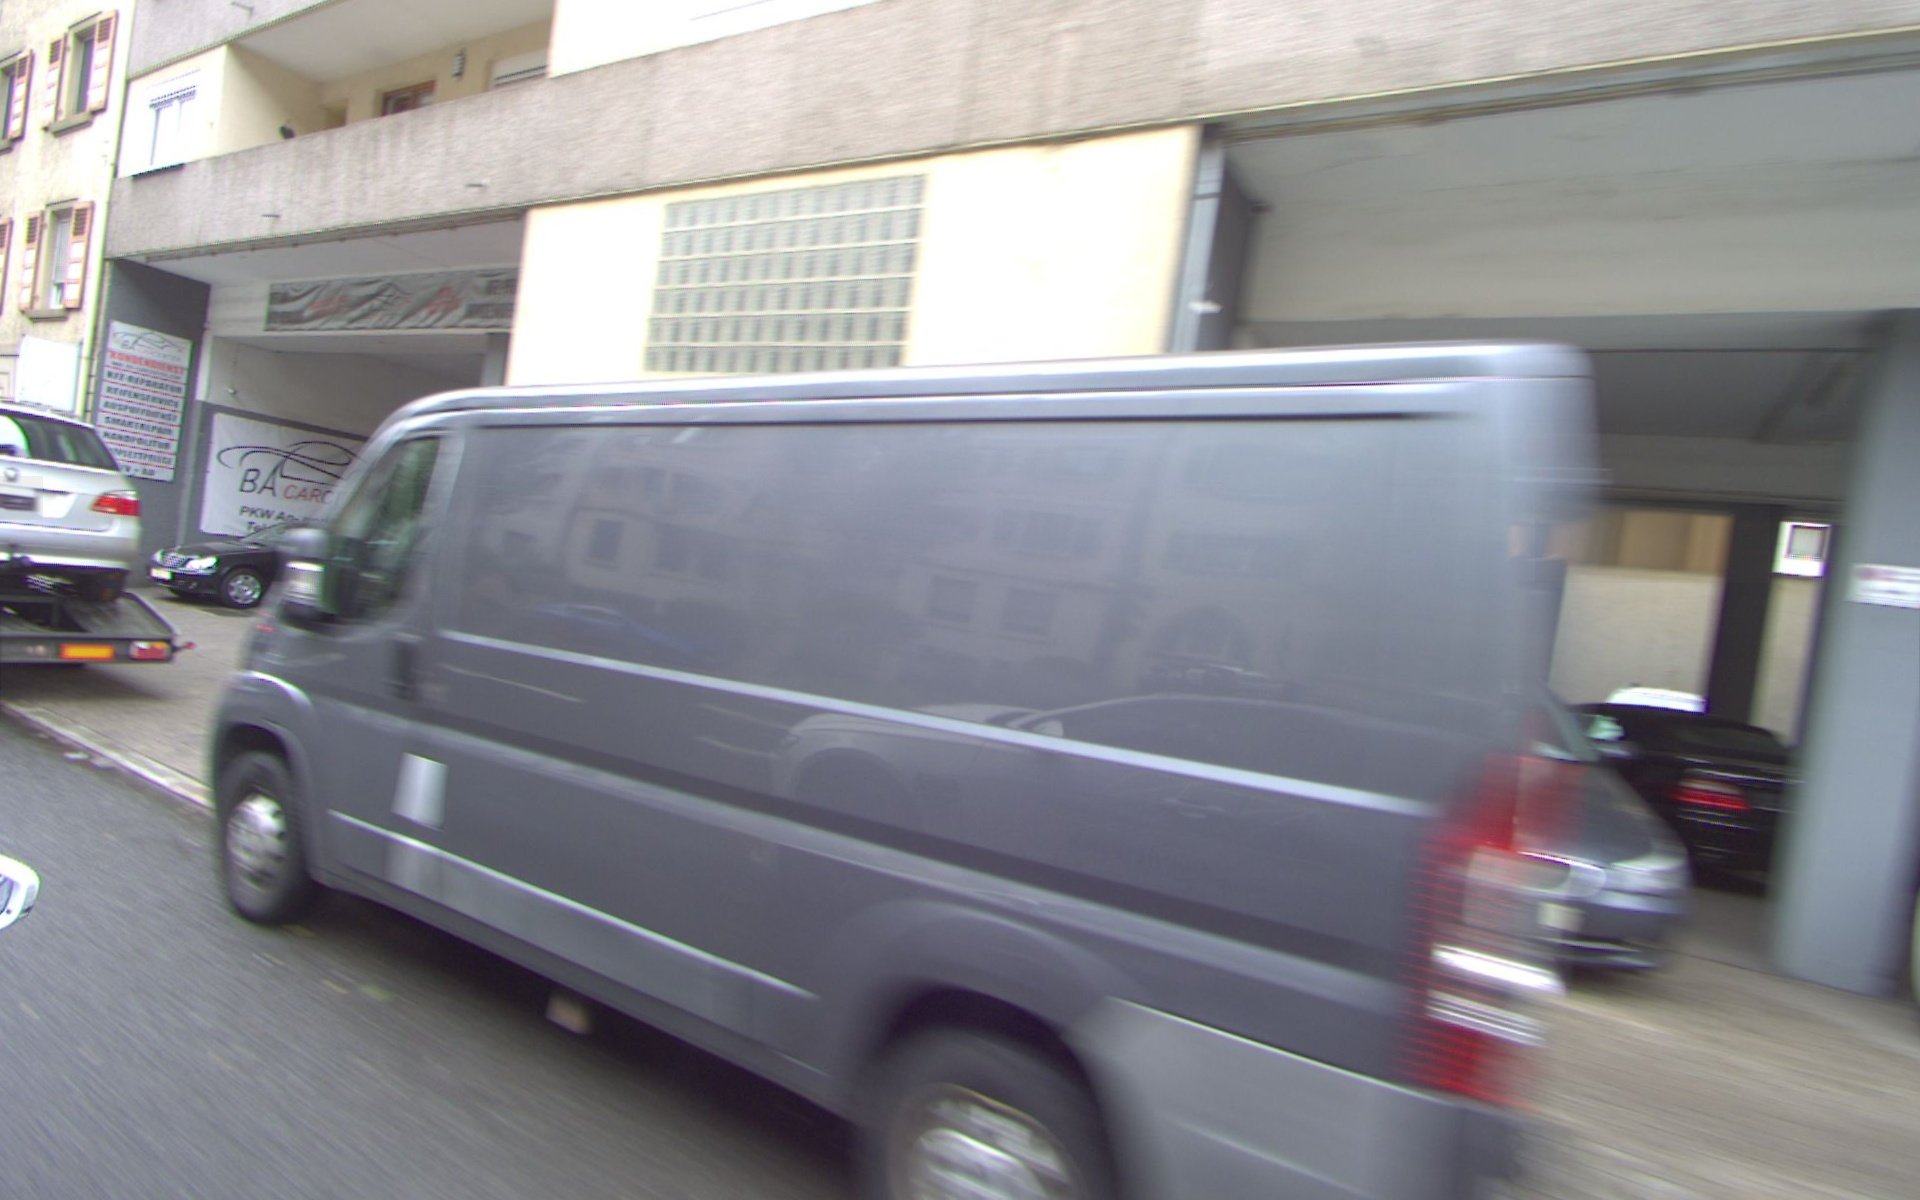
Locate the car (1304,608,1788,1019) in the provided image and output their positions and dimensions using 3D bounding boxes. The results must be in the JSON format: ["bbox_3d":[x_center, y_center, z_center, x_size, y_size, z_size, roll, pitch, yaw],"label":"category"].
[{"bbox_3d":[3.443,1.069,6.860,1.764,1.675,4.244,7,0,17],"label":"car"}]

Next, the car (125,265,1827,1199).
[{"bbox_3d":[-0.621,0.418,3.803,5.419,2.175,2.156,7,0,32],"label":"car"}]

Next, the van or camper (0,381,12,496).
[{"bbox_3d":[-13.945,-1.473,12.446,6.324,2.732,2.183,7,0,38],"label":"van or camper"}]

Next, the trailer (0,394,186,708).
[{"bbox_3d":[-8.684,-0.608,8.412,4.991,2.180,1.993,8,2,35],"label":"trailer"}]

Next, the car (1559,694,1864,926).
[{"bbox_3d":[6.494,1.665,9.103,1.712,1.414,3.656,6,-1,31],"label":"car"}]

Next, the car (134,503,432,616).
[{"bbox_3d":[-11.292,-0.618,17.029,1.865,1.409,3.658,9,2,27],"label":"car"}]

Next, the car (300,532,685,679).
[{"bbox_3d":[-5.493,0.143,12.314,1.533,1.409,3.988,7,1,33],"label":"car"}]

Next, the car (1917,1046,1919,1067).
[{"bbox_3d":[6.293,1.425,4.880,4.004,1.662,1.793,6,1,-39],"label":"car"}]
